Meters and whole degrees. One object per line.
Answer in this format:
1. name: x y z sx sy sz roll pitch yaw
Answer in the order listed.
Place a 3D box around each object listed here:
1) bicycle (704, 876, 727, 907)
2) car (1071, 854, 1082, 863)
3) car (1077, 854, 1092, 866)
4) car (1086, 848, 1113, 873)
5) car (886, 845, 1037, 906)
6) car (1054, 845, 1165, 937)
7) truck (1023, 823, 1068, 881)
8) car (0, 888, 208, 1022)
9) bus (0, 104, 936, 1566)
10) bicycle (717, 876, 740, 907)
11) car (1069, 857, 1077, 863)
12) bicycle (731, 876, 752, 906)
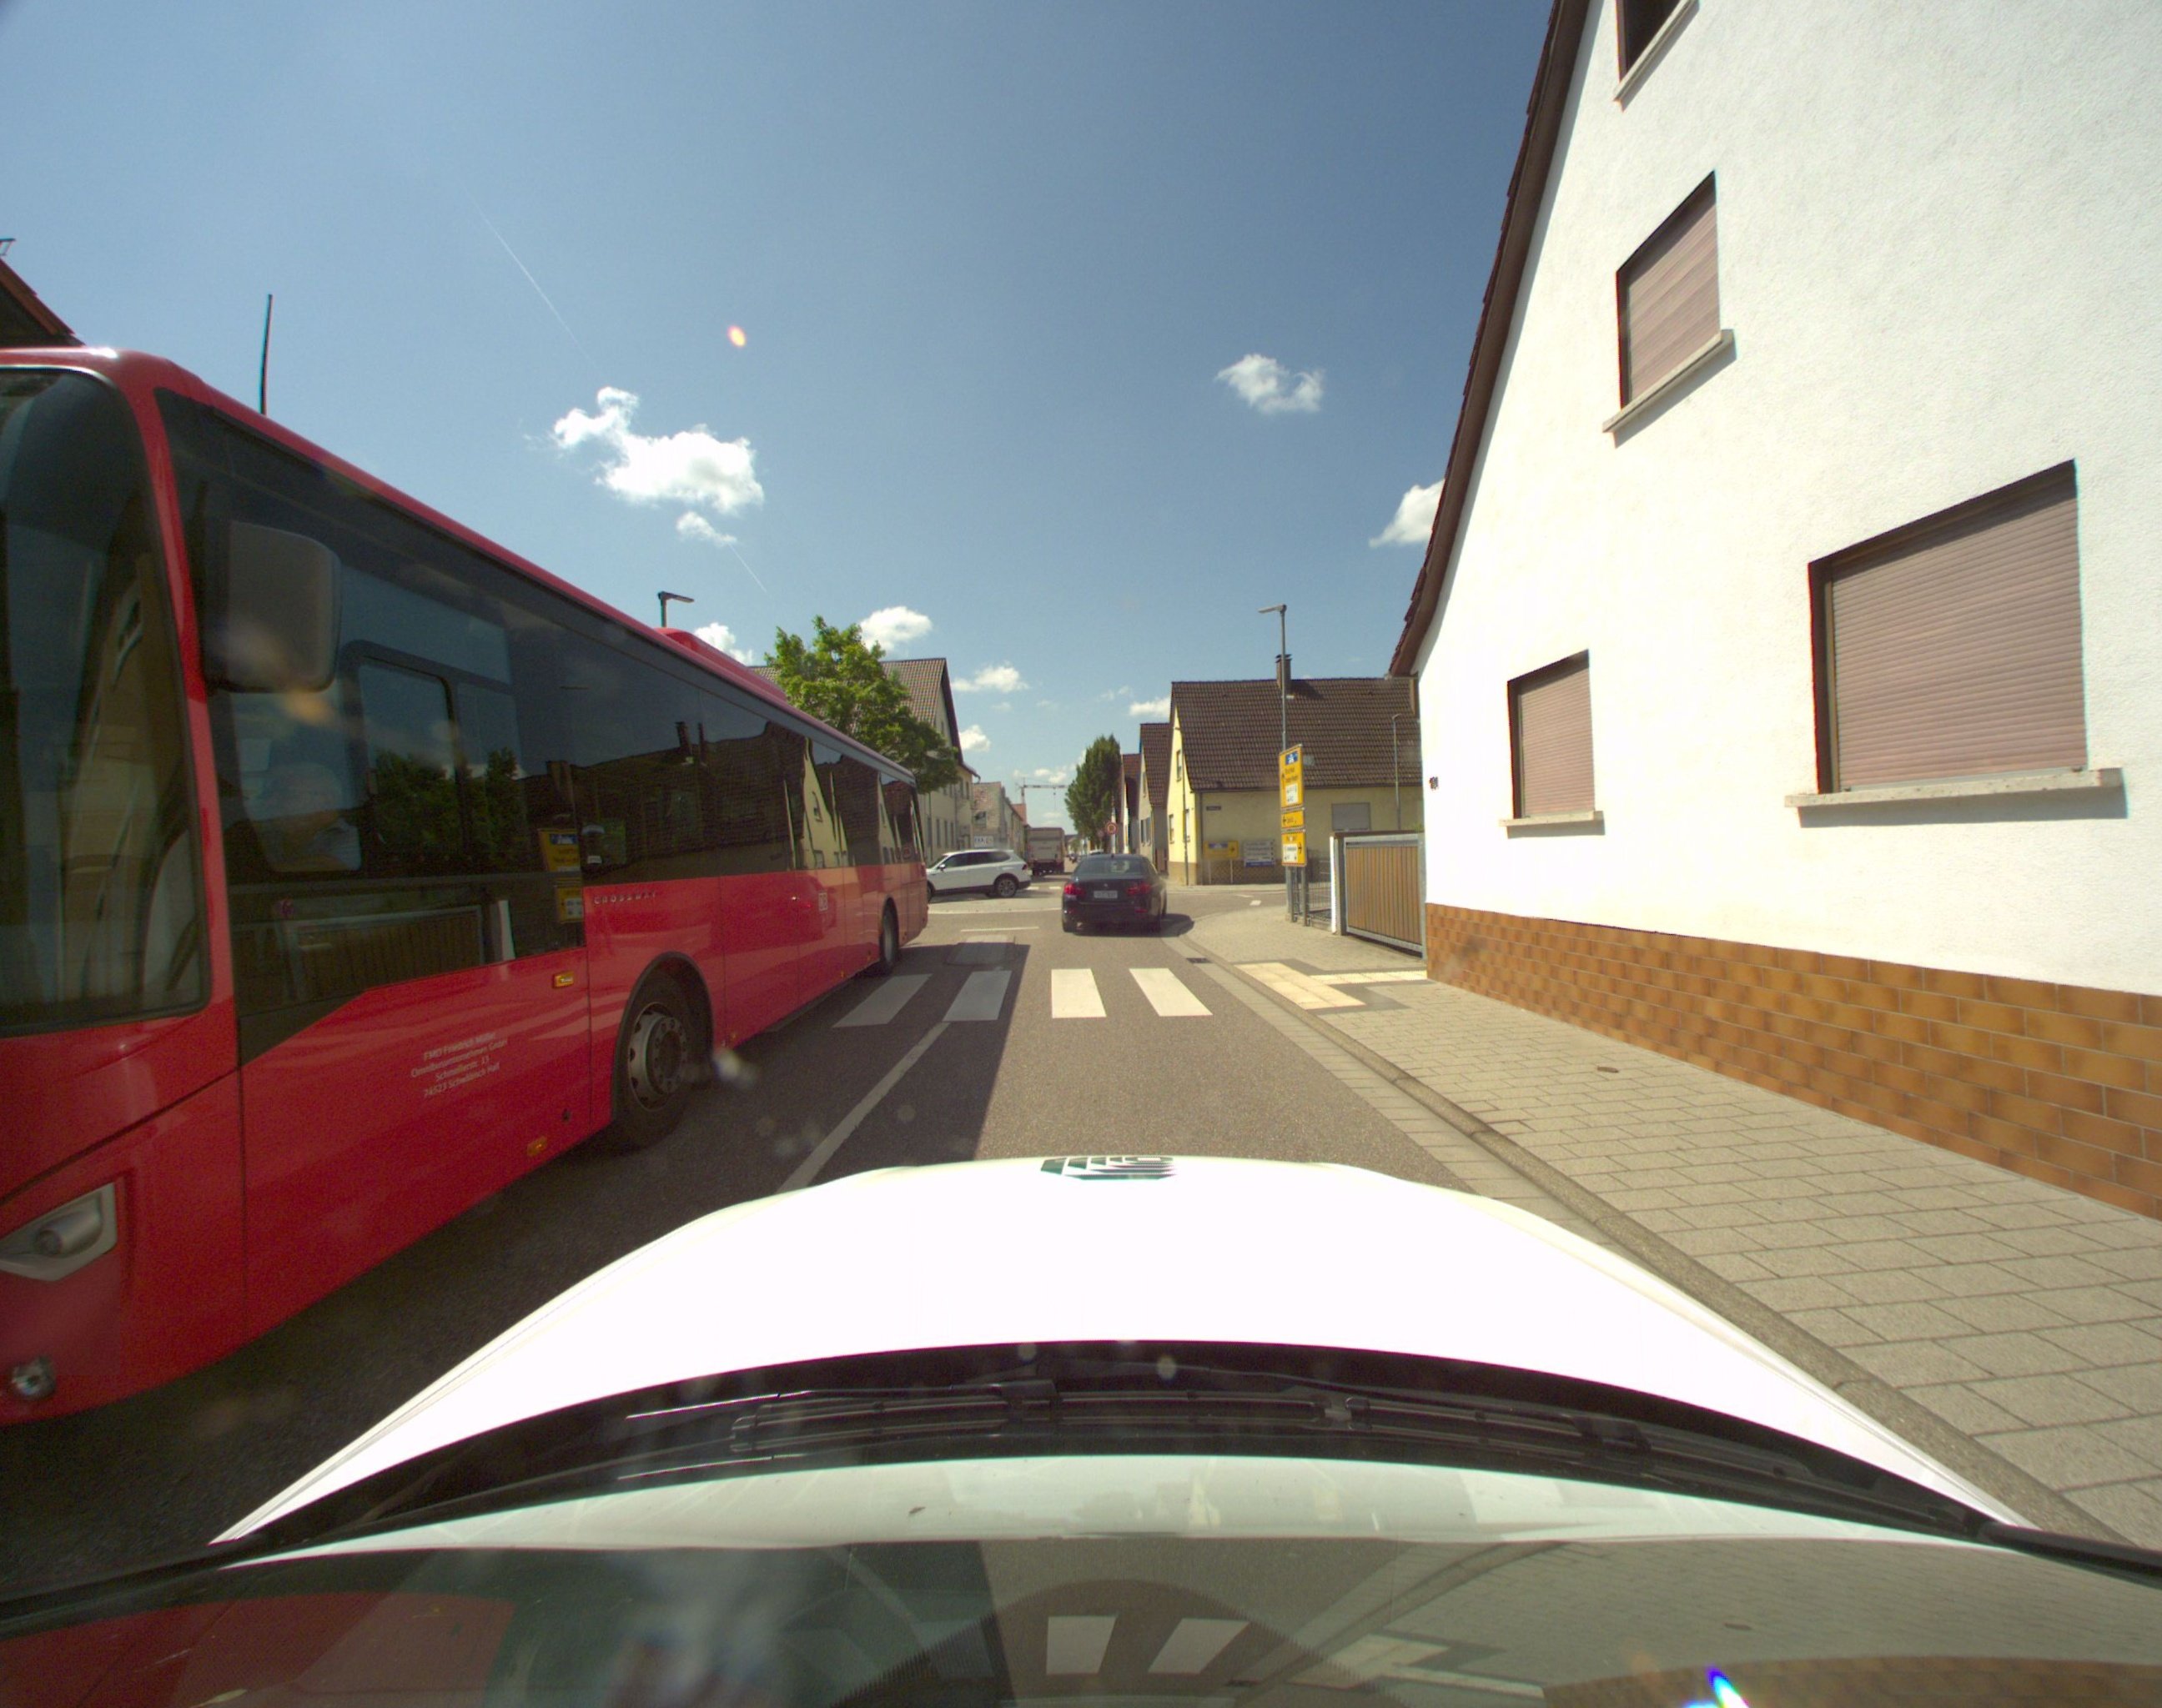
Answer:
1. bicycle: -13.746 1.396 30.649 0.400 1.003 1.974 -2 2 -13
2. car: -0.757 0.733 129.251 1.715 1.355 4.154 -2 0 -1
3. car: 0.446 0.752 100.870 1.714 1.461 4.156 -2 0 0
4. car: 1.449 0.472 63.993 1.716 1.790 4.139 -4 0 -3
5. car: -3.937 0.666 26.820 4.547 1.710 1.858 -2 0 -23
6. car: 0.682 0.646 16.609 1.893 1.563 4.482 -2 0 4
7. truck: -2.664 -0.118 64.522 3.135 4.250 9.299 0 -1 0
8. car: -13.241 1.216 9.280 1.825 1.450 4.474 -2 0 -2
9. bus: -3.693 0.017 7.754 2.620 3.232 12.014 -4 0 -2
10. bicycle: -13.313 1.394 30.781 0.400 1.003 1.974 -2 2 -13
11. car: -1.798 1.292 178.150 1.715 1.268 4.154 -2 0 -1
12. bicycle: -12.870 1.391 30.883 0.400 1.003 1.974 -2 2 -13
